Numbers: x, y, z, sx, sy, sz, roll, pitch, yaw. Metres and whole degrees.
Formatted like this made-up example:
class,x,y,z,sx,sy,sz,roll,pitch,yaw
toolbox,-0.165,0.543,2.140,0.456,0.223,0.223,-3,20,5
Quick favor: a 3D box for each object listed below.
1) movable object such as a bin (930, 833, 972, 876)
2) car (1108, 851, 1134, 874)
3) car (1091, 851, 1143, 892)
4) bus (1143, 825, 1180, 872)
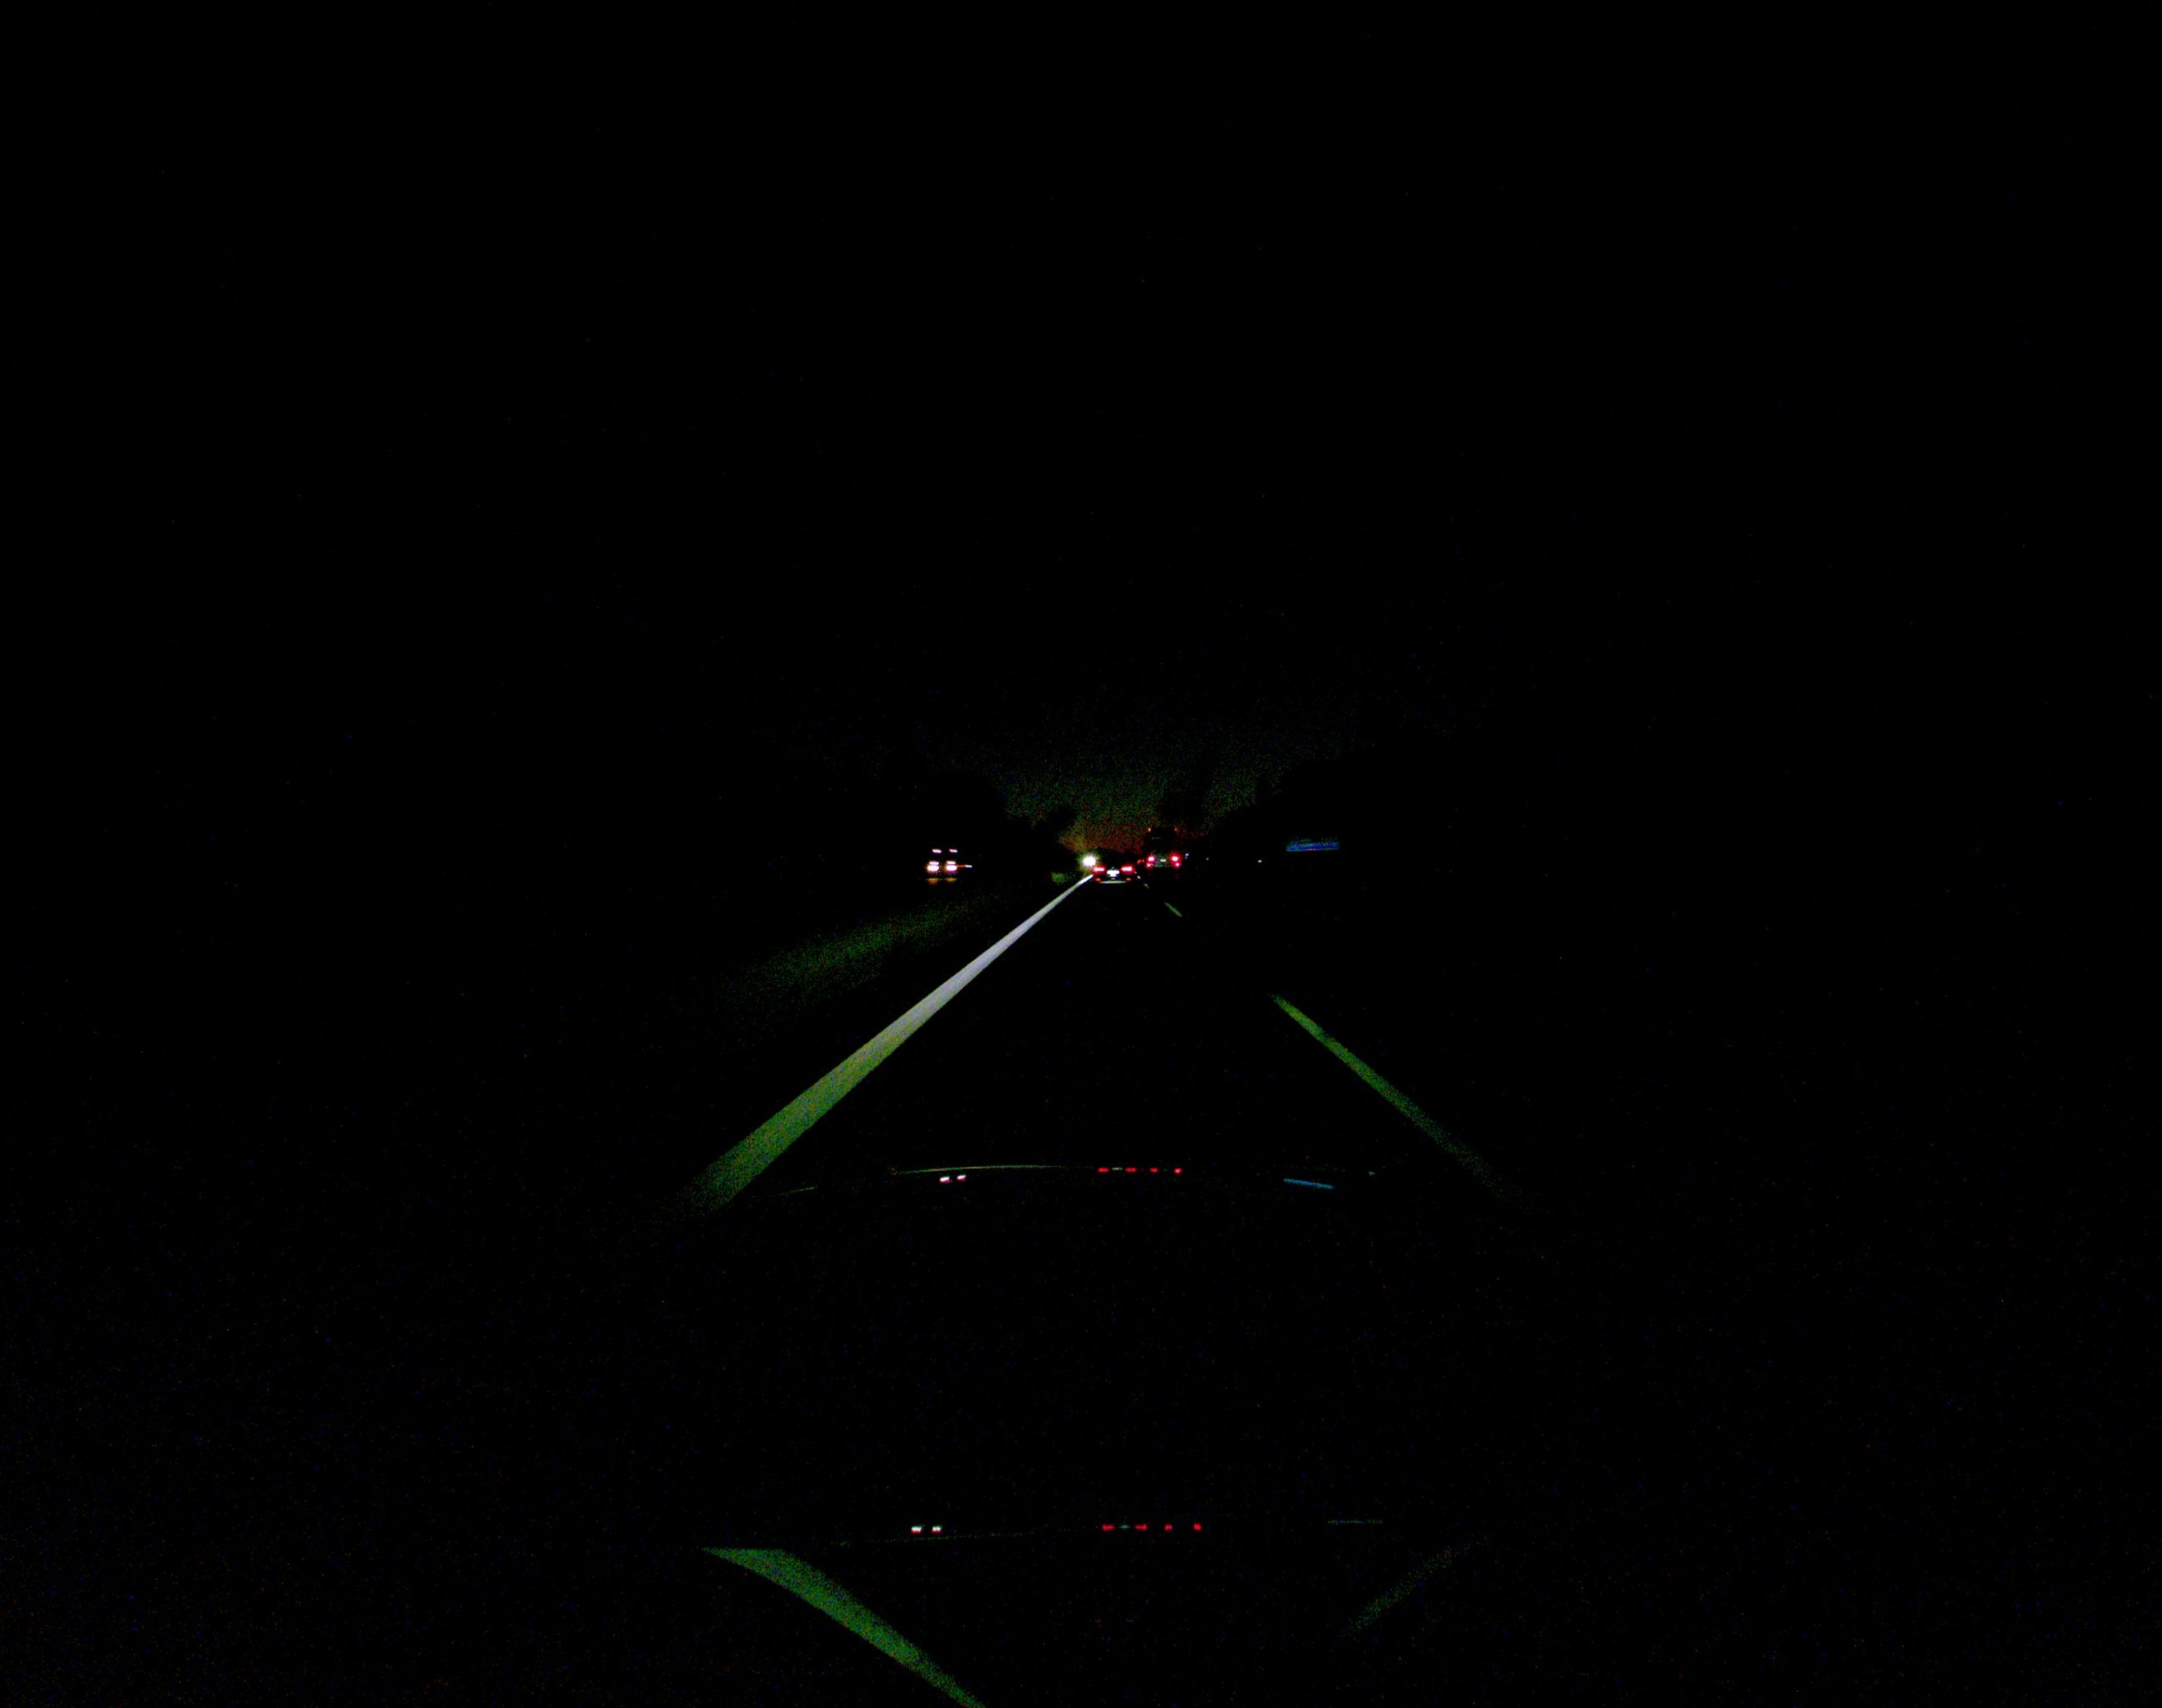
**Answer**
class,x,y,z,sx,sy,sz,roll,pitch,yaw
movable object such as a bin,-11.918,0.026,75.299,2.284,3.769,7.691,-1,0,2
car,3.194,0.712,65.895,1.905,1.730,3.999,2,-1,0
car,1.559,0.783,36.499,2.098,1.618,4.204,-3,-1,1
bus,7.671,-0.356,79.305,2.641,3.994,14.711,-3,-1,3
